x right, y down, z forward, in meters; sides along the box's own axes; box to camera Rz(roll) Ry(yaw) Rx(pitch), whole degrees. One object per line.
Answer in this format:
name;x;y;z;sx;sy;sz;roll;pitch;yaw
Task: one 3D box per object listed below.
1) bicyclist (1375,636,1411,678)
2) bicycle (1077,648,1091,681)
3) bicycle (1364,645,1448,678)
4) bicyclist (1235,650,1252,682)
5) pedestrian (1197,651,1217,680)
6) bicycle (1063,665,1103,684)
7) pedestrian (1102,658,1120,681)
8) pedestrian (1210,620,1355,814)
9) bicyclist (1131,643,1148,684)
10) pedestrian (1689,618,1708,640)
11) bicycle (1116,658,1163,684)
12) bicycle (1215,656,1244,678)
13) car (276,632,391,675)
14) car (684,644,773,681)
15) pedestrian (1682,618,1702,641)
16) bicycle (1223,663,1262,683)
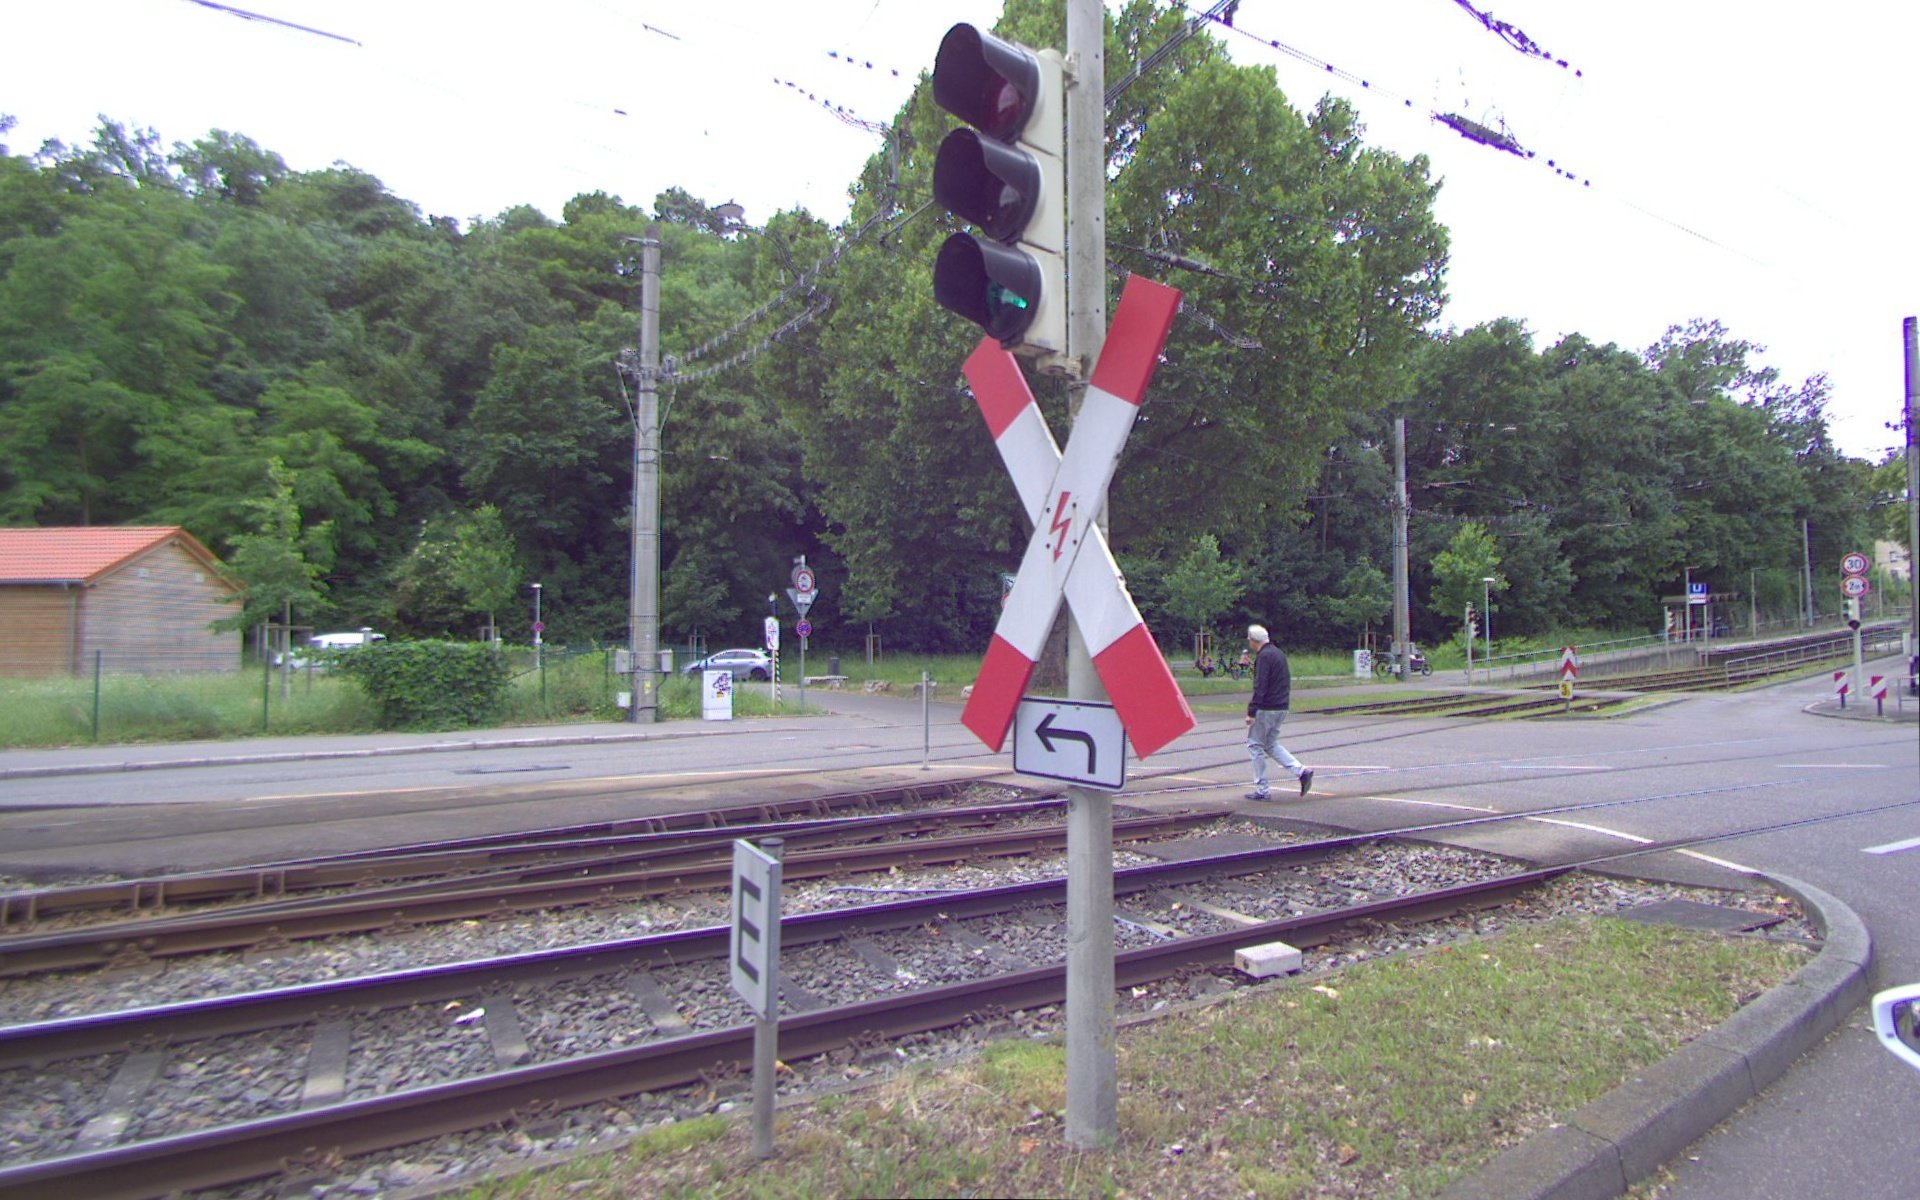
bicyclist;18.874;2.489;43.804;1.266;1.734;0.735;-1;2;5
bicycle;5.215;2.688;42.191;0.506;1.348;0.454;-1;1;-4
bicycle;19.426;2.691;43.790;3.279;1.307;0.735;-1;2;4
bicyclist;12.258;2.861;43.395;0.570;1.319;0.455;-2;2;-1
pedestrian;11.047;2.926;44.874;0.662;1.251;0.578;2;0;-15
bicycle;5.156;3.133;42.197;1.621;0.748;0.454;-1;1;-4
pedestrian;6.707;3.078;44.501;0.609;1.003;0.531;2;0;-13
pedestrian;3.215;1.108;10.054;0.808;1.783;1.106;2;-1;-43
bicyclist;7.635;2.698;42.739;0.611;1.697;0.475;0;1;-2
pedestrian;45.966;1.783;62.516;0.779;1.344;0.766;2;-1;-36
bicycle;7.651;3.021;42.747;1.907;1.055;0.475;0;1;-2
bicycle;12.218;3.014;45.571;0.611;0.897;1.744;2;-1;-8
car;-26.609;2.254;42.763;3.609;1.634;1.909;2;-1;-2
car;-10.022;2.705;43.599;3.435;1.443;1.700;2;-1;-2
pedestrian;45.055;1.826;61.826;0.779;1.344;0.766;-1;1;-36
bicycle;12.202;3.147;43.404;1.528;0.748;0.455;-2;2;-1
